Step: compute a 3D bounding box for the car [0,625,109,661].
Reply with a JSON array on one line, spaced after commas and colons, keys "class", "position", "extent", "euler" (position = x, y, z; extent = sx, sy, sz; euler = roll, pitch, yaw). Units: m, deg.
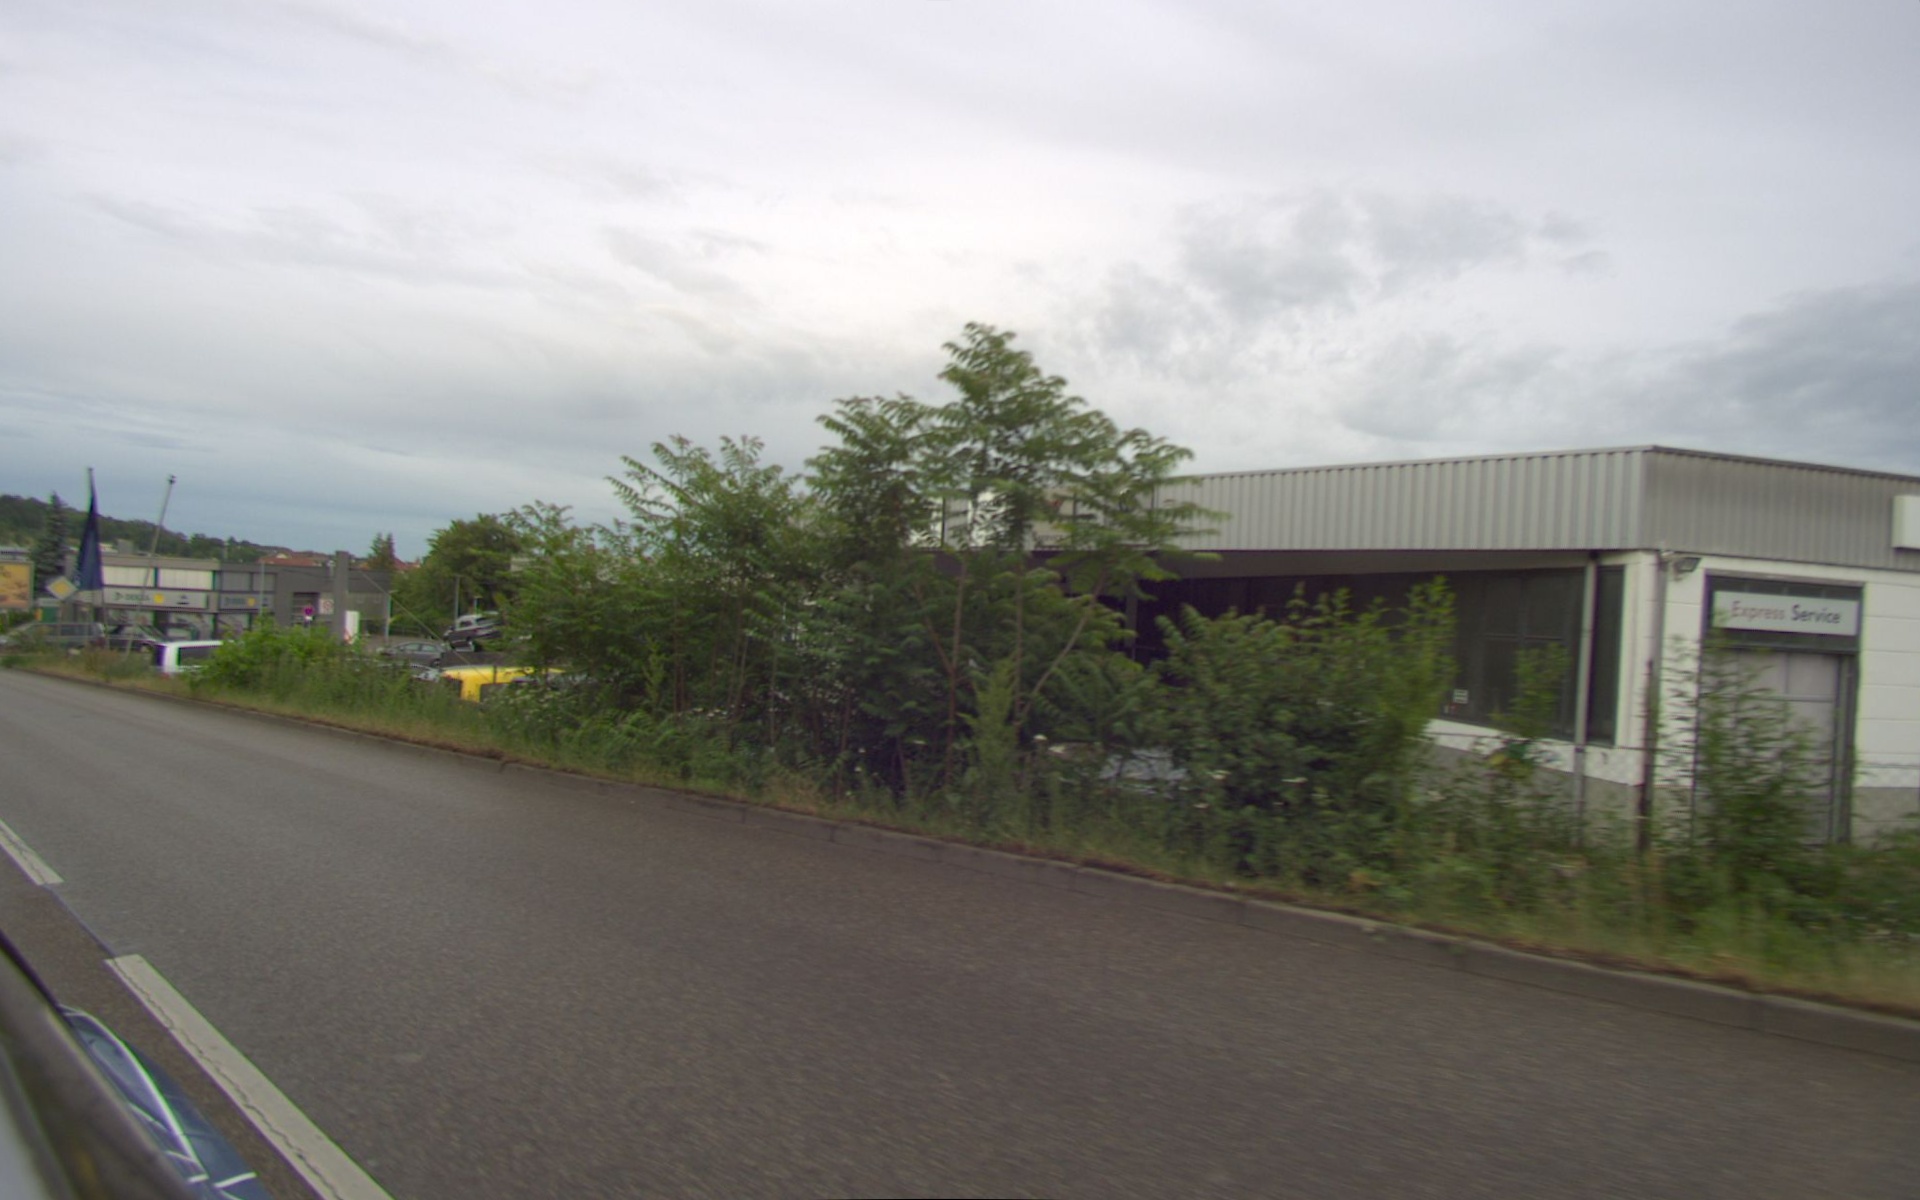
[{"class": "car", "position": [-50.962, 2.398, 56.398], "extent": [1.816, 1.885, 5.029], "euler": [0, -3, 31]}]

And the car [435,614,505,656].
[{"class": "car", "position": [-22.533, 1.591, 46.499], "extent": [4.251, 1.814, 1.384], "euler": [-1, -3, 43]}]

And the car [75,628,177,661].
[{"class": "car", "position": [-53.822, 2.851, 65.360], "extent": [4.803, 2.002, 2.002], "euler": [-1, -1, -4]}]

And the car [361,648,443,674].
[{"class": "car", "position": [-32.519, 3.572, 59.079], "extent": [4.034, 1.439, 1.896], "euler": [2, -3, -25]}]

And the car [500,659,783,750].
[{"class": "car", "position": [-4.943, 1.572, 16.176], "extent": [1.801, 1.220, 4.025], "euler": [-1, -3, 37]}]

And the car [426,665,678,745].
[{"class": "car", "position": [-7.600, 1.894, 19.085], "extent": [4.014, 1.301, 1.806], "euler": [3, -4, -44]}]

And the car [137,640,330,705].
[{"class": "car", "position": [-21.947, 2.146, 30.721], "extent": [1.932, 1.811, 4.369], "euler": [-2, -3, 39]}]
